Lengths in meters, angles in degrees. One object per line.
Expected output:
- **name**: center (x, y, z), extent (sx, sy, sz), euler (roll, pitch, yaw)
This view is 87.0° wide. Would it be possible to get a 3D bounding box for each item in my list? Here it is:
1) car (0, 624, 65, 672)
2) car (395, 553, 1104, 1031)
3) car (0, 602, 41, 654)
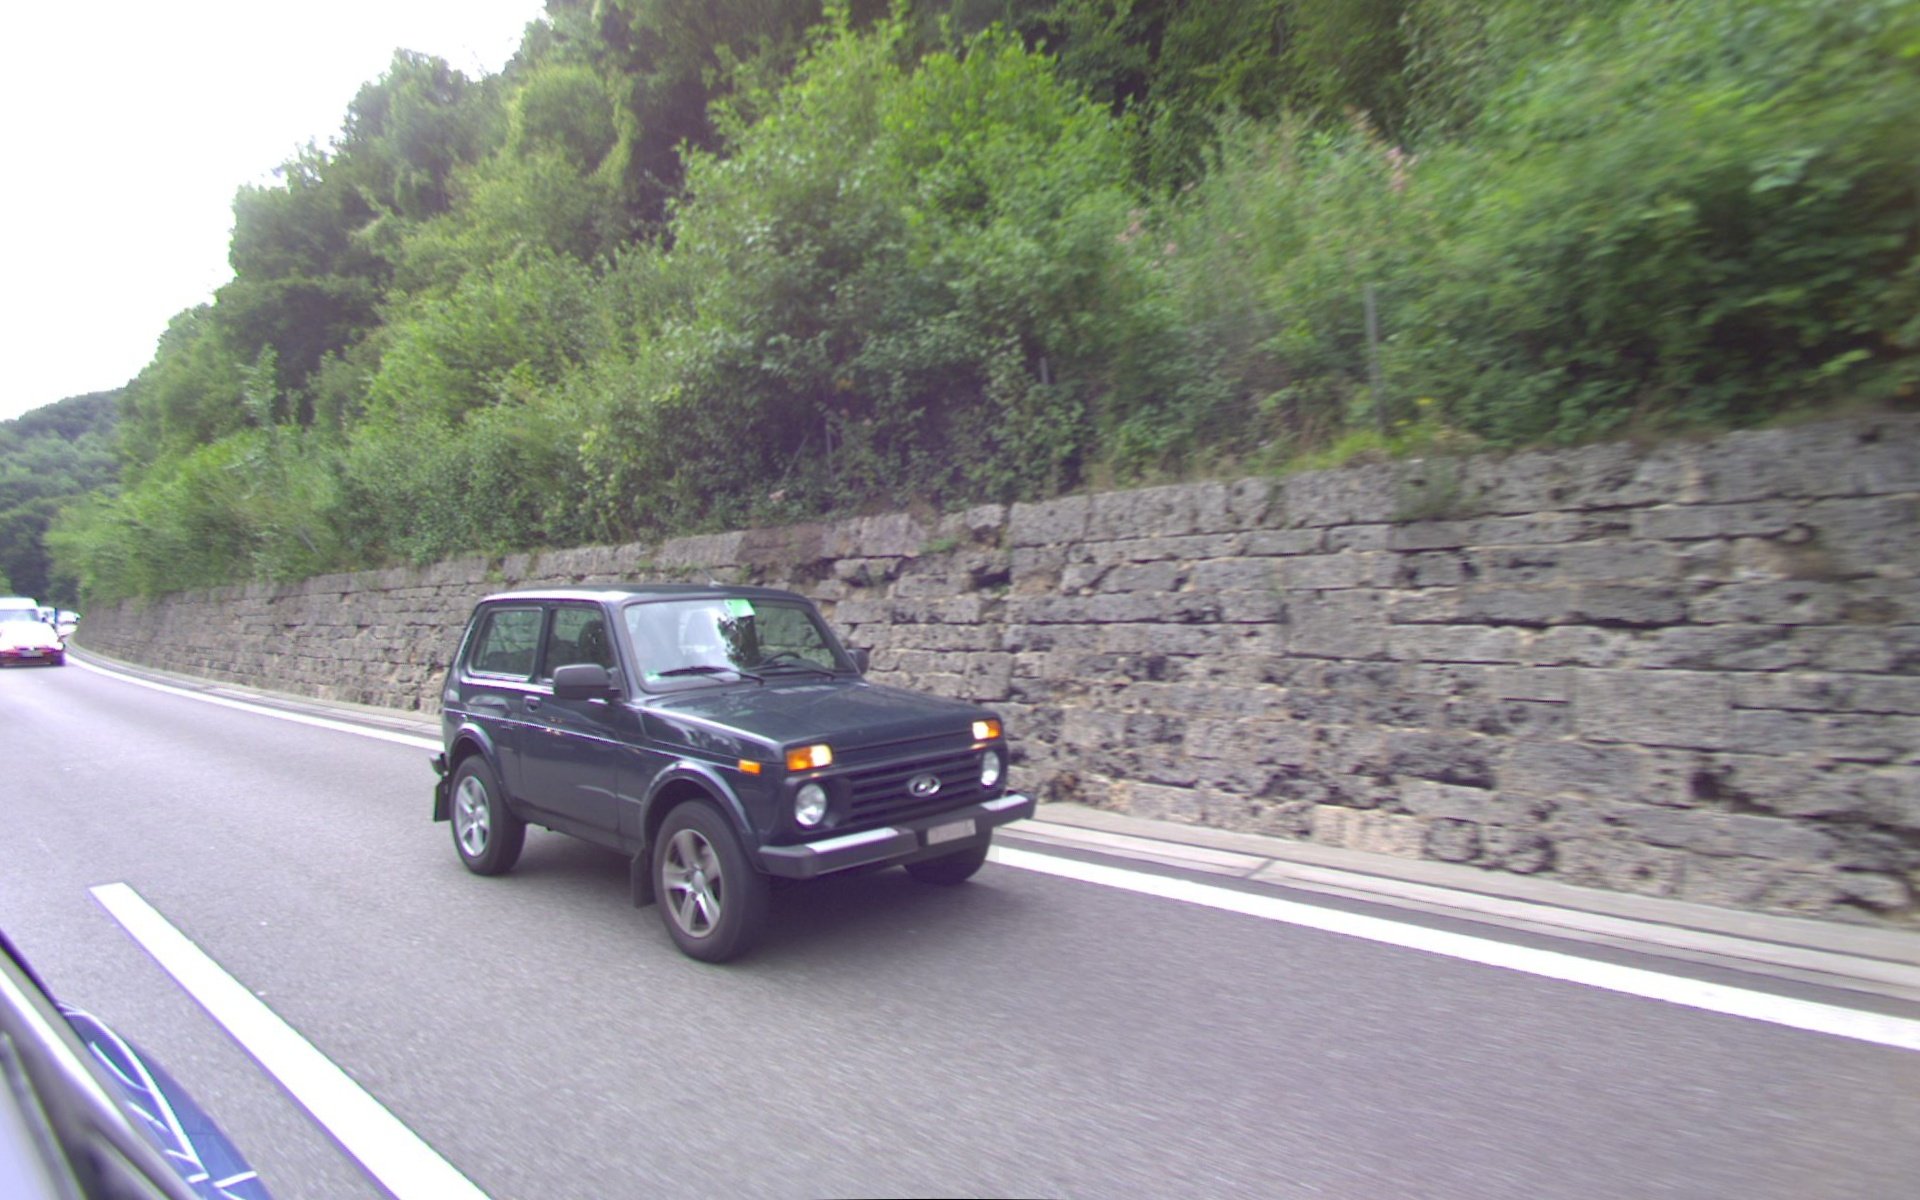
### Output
- **car**: center (-31.352, 1.566, 33.985), extent (1.746, 1.471, 4.415), euler (0, -1, -44)
- **car**: center (-1.396, 0.700, 5.480), extent (4.066, 1.651, 1.651), euler (-1, -1, 41)
- **car**: center (-50.126, 1.471, 53.617), extent (2.002, 2.605, 6.280), euler (0, -1, -43)
